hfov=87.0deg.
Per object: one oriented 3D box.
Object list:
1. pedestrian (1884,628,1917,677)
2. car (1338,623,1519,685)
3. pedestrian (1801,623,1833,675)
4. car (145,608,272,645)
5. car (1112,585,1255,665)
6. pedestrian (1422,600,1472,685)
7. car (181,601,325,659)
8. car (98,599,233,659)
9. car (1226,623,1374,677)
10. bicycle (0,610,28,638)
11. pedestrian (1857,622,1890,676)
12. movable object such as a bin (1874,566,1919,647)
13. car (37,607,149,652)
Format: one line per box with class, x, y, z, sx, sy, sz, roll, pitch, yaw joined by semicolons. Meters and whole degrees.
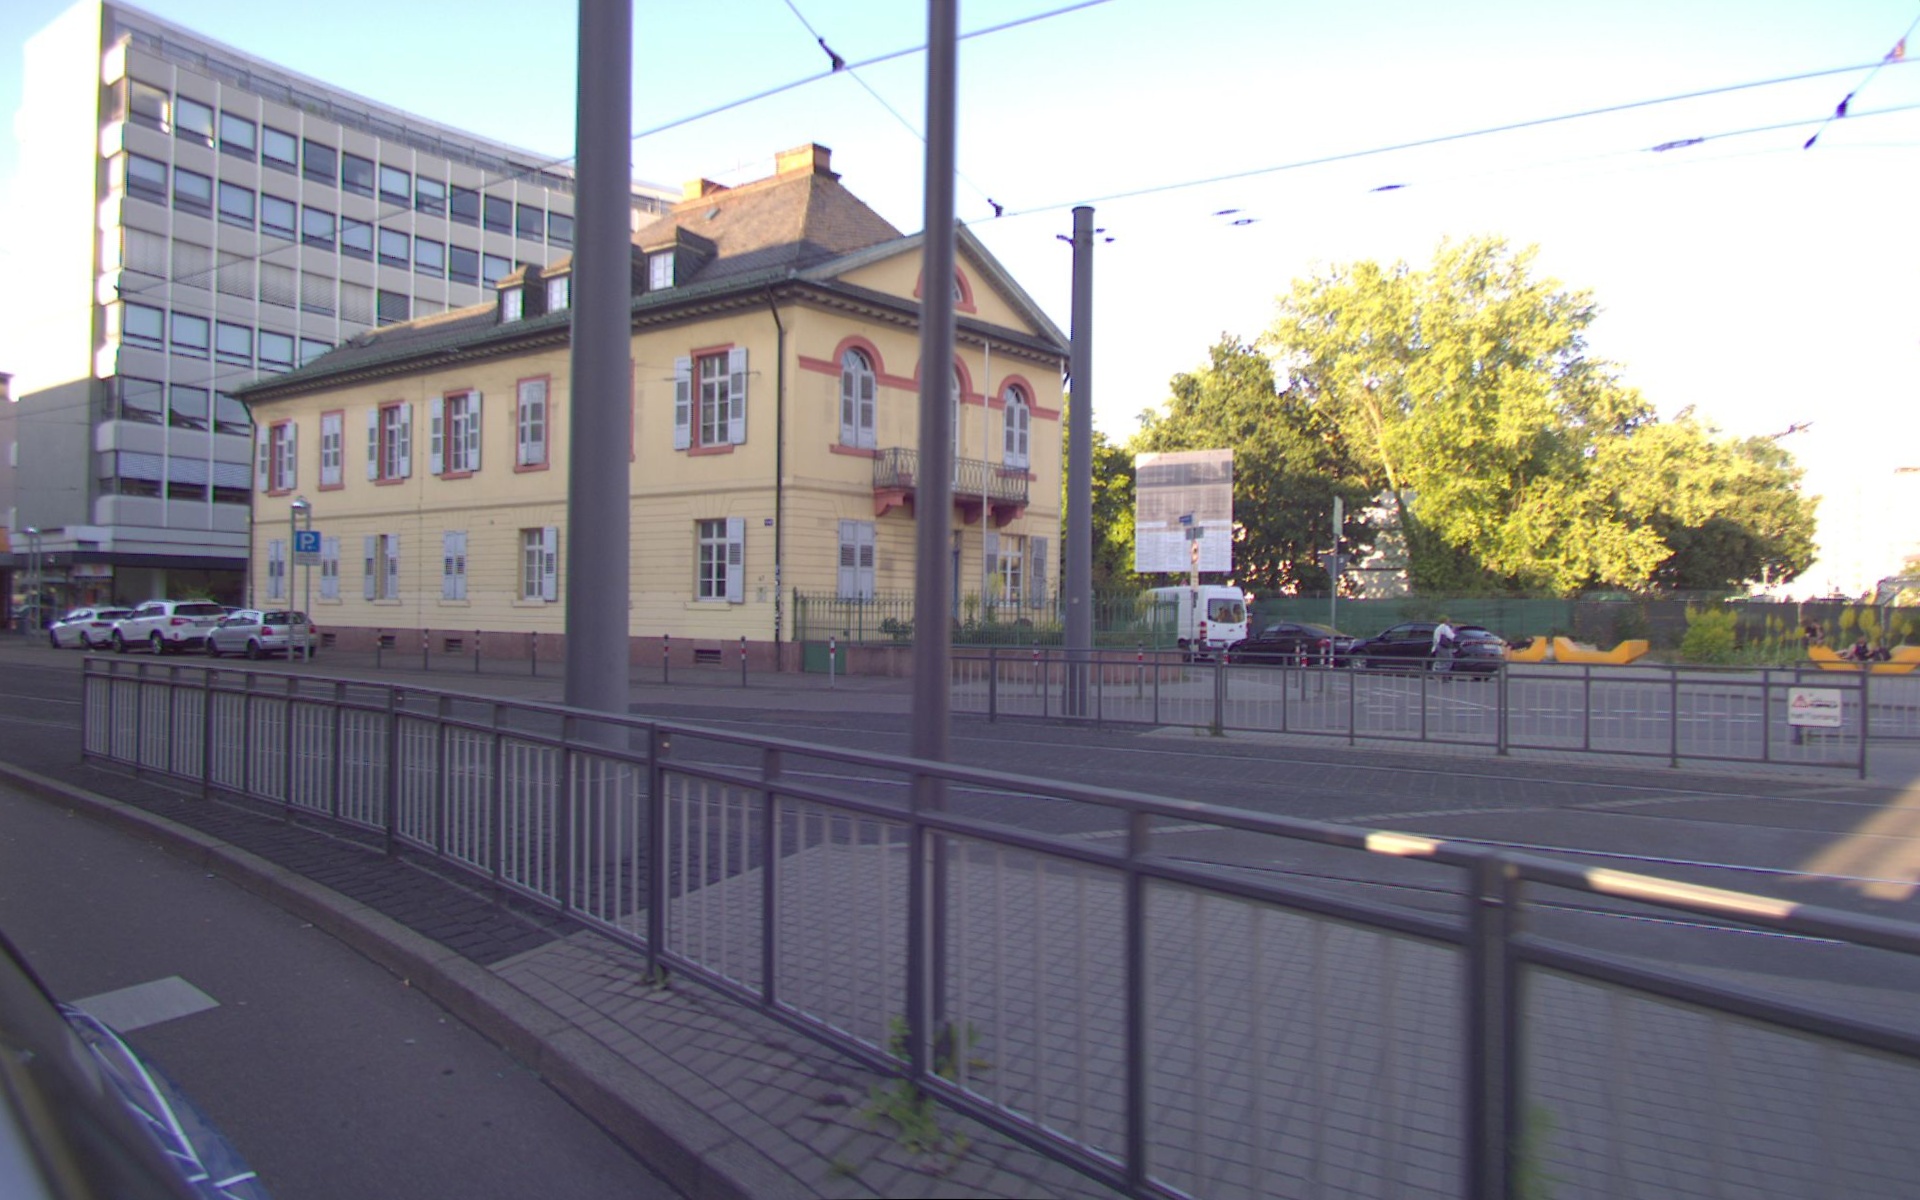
pedestrian;29.271;1.624;31.506;0.623;1.507;0.635;0;-1;30
car;12.385;1.381;26.995;1.965;1.497;4.013;1;-1;-27
pedestrian;27.769;1.576;32.806;0.594;1.671;0.534;0;-1;11
car;-31.966;1.126;43.158;1.840;1.478;3.956;0;-1;32
car;7.844;0.866;36.141;2.062;2.650;5.443;1;-1;-26
pedestrian;11.145;0.968;23.168;0.717;1.907;0.767;1;-1;-36
car;-21.029;0.861;30.092;4.195;1.629;1.801;0;-1;28
car;-25.563;0.876;32.530;4.477;1.799;1.801;0;1;29
car;10.358;1.472;31.134;1.965;1.497;4.107;1;-1;-27
bicycle;-48.321;1.205;50.899;0.830;1.436;1.955;0;-2;29
pedestrian;28.631;1.536;31.717;0.596;1.671;0.532;0;-1;23
movable object such as a bin;39.750;0.278;40.696;4.346;3.253;1.971;0;-1;45
car;-30.833;1.012;35.950;4.418;1.523;1.798;0;-2;32
